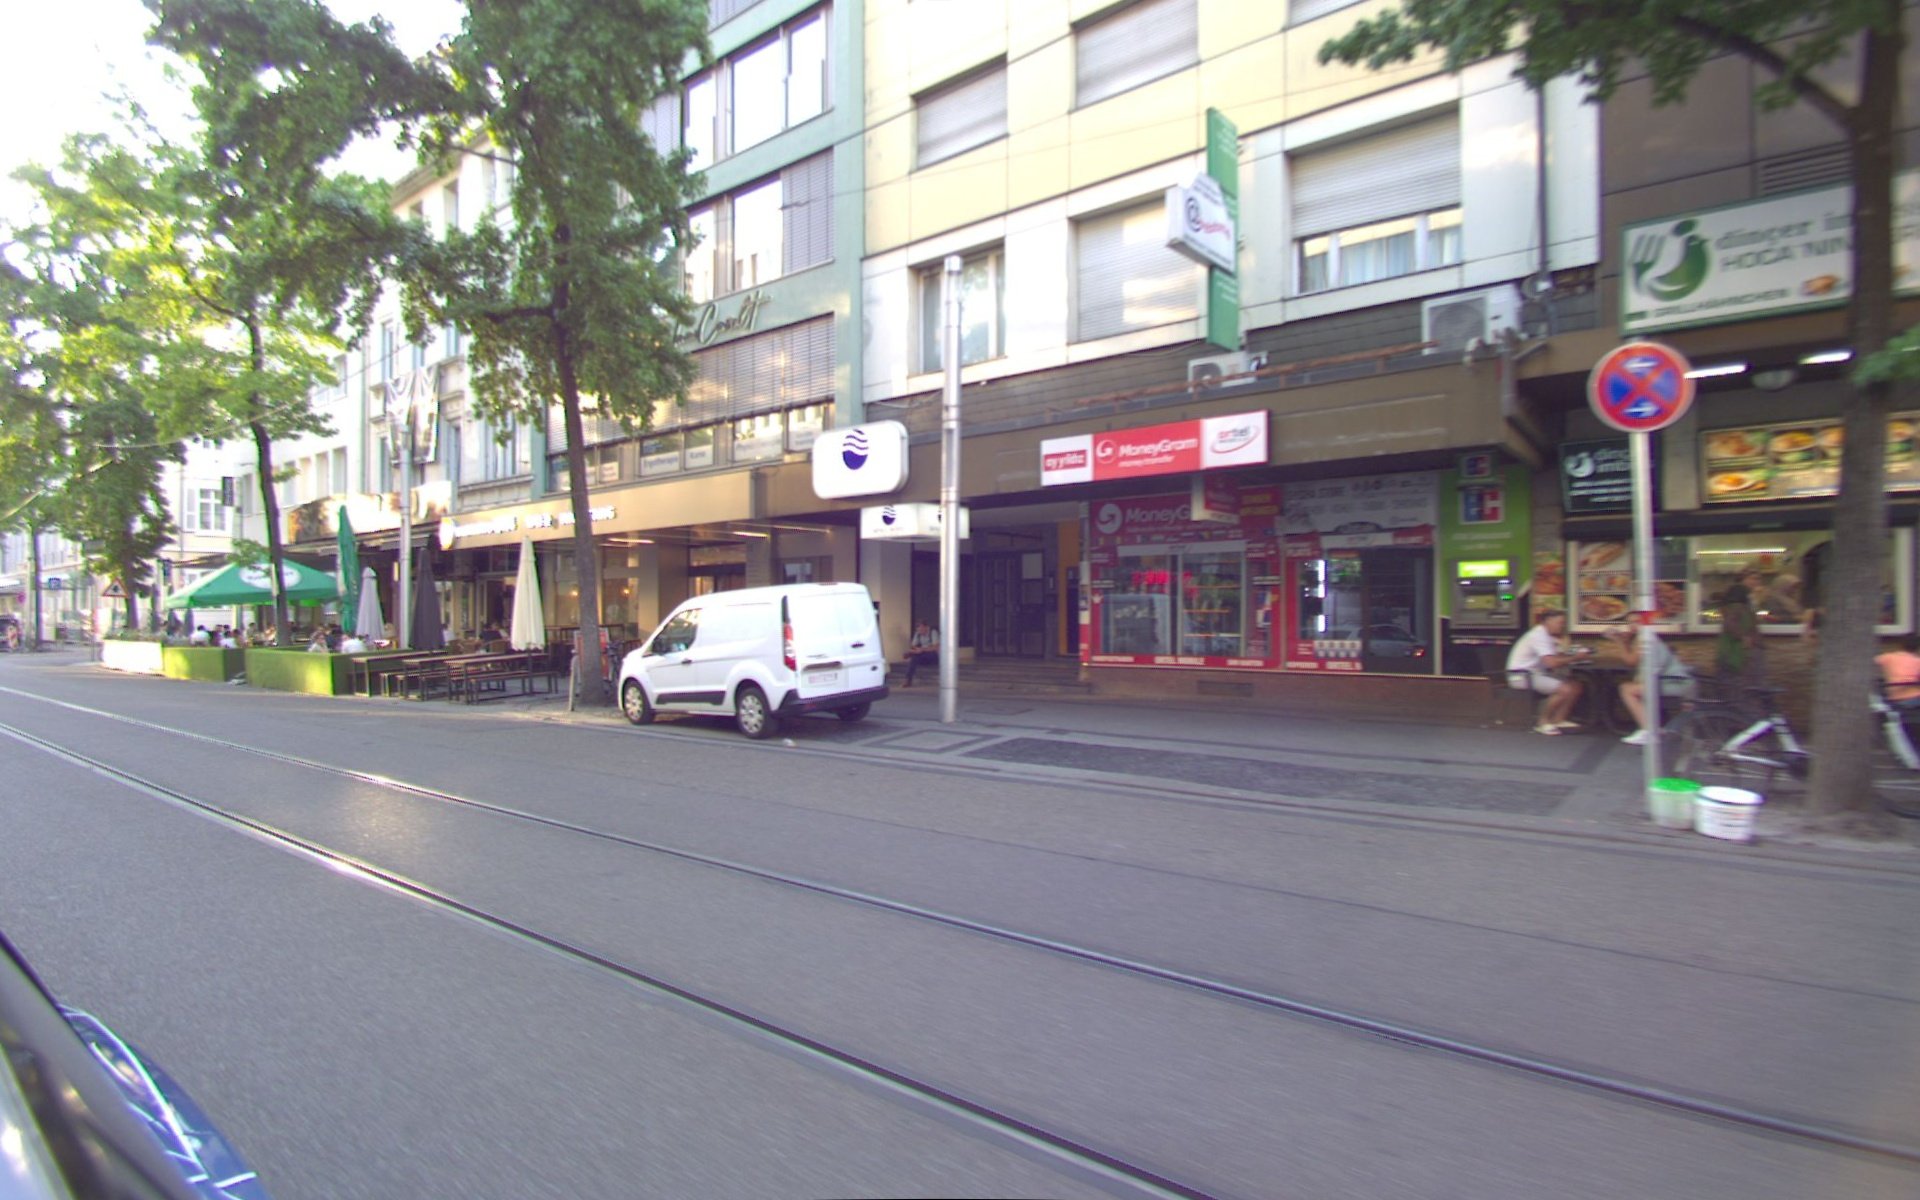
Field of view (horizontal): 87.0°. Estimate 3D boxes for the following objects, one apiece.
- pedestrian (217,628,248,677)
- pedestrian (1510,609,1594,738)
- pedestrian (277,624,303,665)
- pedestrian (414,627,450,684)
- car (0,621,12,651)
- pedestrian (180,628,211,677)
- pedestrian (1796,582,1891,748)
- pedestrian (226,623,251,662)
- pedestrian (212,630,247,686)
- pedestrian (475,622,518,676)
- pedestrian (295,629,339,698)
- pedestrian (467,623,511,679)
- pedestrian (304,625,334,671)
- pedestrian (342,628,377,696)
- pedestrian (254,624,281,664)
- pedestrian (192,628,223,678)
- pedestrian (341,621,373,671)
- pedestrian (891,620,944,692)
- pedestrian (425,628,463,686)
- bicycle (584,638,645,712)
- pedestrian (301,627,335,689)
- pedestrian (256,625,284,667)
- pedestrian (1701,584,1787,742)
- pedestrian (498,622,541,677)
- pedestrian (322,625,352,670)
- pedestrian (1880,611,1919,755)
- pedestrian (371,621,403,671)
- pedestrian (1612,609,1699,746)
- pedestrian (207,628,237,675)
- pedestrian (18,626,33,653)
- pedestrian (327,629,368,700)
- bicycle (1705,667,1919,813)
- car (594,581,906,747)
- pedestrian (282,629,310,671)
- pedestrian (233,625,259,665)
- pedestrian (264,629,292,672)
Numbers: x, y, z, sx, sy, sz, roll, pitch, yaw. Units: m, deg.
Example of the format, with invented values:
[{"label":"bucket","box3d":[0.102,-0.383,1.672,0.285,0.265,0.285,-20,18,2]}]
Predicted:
[{"label":"pedestrian","box3d":[-21.164,1.515,29.425,0.640,1.396,0.651,1,-2,-44]},{"label":"pedestrian","box3d":[6.147,0.734,10.506,0.664,1.237,0.635,0,4,37]},{"label":"pedestrian","box3d":[-24.363,1.624,36.803,0.649,1.471,0.642,-1,-2,38]},{"label":"pedestrian","box3d":[-14.069,1.466,26.963,0.649,1.471,0.642,-1,-2,38]},{"label":"car","box3d":[-50.715,1.878,52.508,3.997,1.522,1.776,-1,-2,40]},{"label":"pedestrian","box3d":[-22.507,1.531,29.788,0.640,1.396,0.651,1,-2,-44]},{"label":"pedestrian","box3d":[8.254,0.579,9.476,0.642,1.444,0.654,0,4,39]},{"label":"pedestrian","box3d":[-27.703,1.616,38.860,0.649,1.471,0.642,-1,-2,38]},{"label":"pedestrian","box3d":[-18.863,1.480,26.141,0.640,1.396,0.651,1,-2,-44]},{"label":"pedestrian","box3d":[-11.780,1.238,25.709,0.785,1.326,0.693,-1,-1,35]},{"label":"pedestrian","box3d":[-14.041,1.379,22.105,0.650,1.471,0.641,-2,-2,40]},{"label":"pedestrian","box3d":[-11.461,1.232,24.641,0.785,1.326,0.693,-1,-1,35]},{"label":"pedestrian","box3d":[-20.924,1.554,33.033,0.649,1.471,0.642,-1,-2,37]},{"label":"pedestrian","box3d":[-13.425,1.373,22.614,0.639,1.471,0.652,0,-1,-33]},{"label":"pedestrian","box3d":[-26.039,1.646,38.053,0.649,1.471,0.642,-1,-2,38]},{"label":"pedestrian","box3d":[-21.556,1.518,28.990,0.640,1.396,0.651,1,-2,-44]},{"label":"pedestrian","box3d":[-18.246,1.377,30.636,0.649,1.471,0.642,-1,-2,37]},{"label":"pedestrian","box3d":[-0.724,0.943,17.371,0.648,1.184,0.642,-1,0,34]},{"label":"pedestrian","box3d":[-13.394,1.457,26.279,0.648,1.471,0.643,-1,-1,31]},{"label":"bicycle","box3d":[-5.721,1.213,16.843,0.493,1.116,1.801,-1,-1,-3]},{"label":"pedestrian","box3d":[-15.704,1.404,24.751,0.639,1.471,0.651,0,-2,-37]},{"label":"pedestrian","box3d":[-24.680,1.626,36.198,0.649,1.471,0.642,-1,-2,37]},{"label":"pedestrian","box3d":[7.696,0.586,9.928,0.642,1.444,0.654,0,4,39]},{"label":"pedestrian","box3d":[-10.961,1.228,25.196,0.785,1.326,0.693,-1,-1,35]},{"label":"pedestrian","box3d":[-20.514,1.550,33.340,0.649,1.471,0.642,-1,-2,37]},{"label":"pedestrian","box3d":[8.270,0.694,8.554,0.664,1.165,0.635,0,2,37]},{"label":"pedestrian","box3d":[-17.224,1.365,30.441,0.649,1.471,0.642,-1,-2,37]},{"label":"pedestrian","box3d":[6.786,0.725,9.866,0.664,1.237,0.635,0,4,37]},{"label":"pedestrian","box3d":[-22.056,1.527,30.247,0.640,1.396,0.651,1,-2,-44]},{"label":"pedestrian","box3d":[-51.530,2.169,55.805,0.543,1.471,0.484,-1,-2,38]},{"label":"pedestrian","box3d":[-13.142,1.368,21.722,0.639,1.471,0.652,0,-1,-21]},{"label":"bicycle","box3d":[6.329,0.947,6.990,1.813,0.933,0.477,-2,0,20]},{"label":"car","box3d":[-2.934,0.753,13.572,4.327,1.835,1.807,-2,1,41]},{"label":"pedestrian","box3d":[-23.651,1.757,36.050,0.649,1.471,0.642,-1,-2,37]},{"label":"pedestrian","box3d":[-26.434,1.649,37.477,0.649,1.471,0.642,-1,-2,38]},{"label":"pedestrian","box3d":[-23.975,1.760,35.579,0.649,1.471,0.642,-1,-2,37]}]
